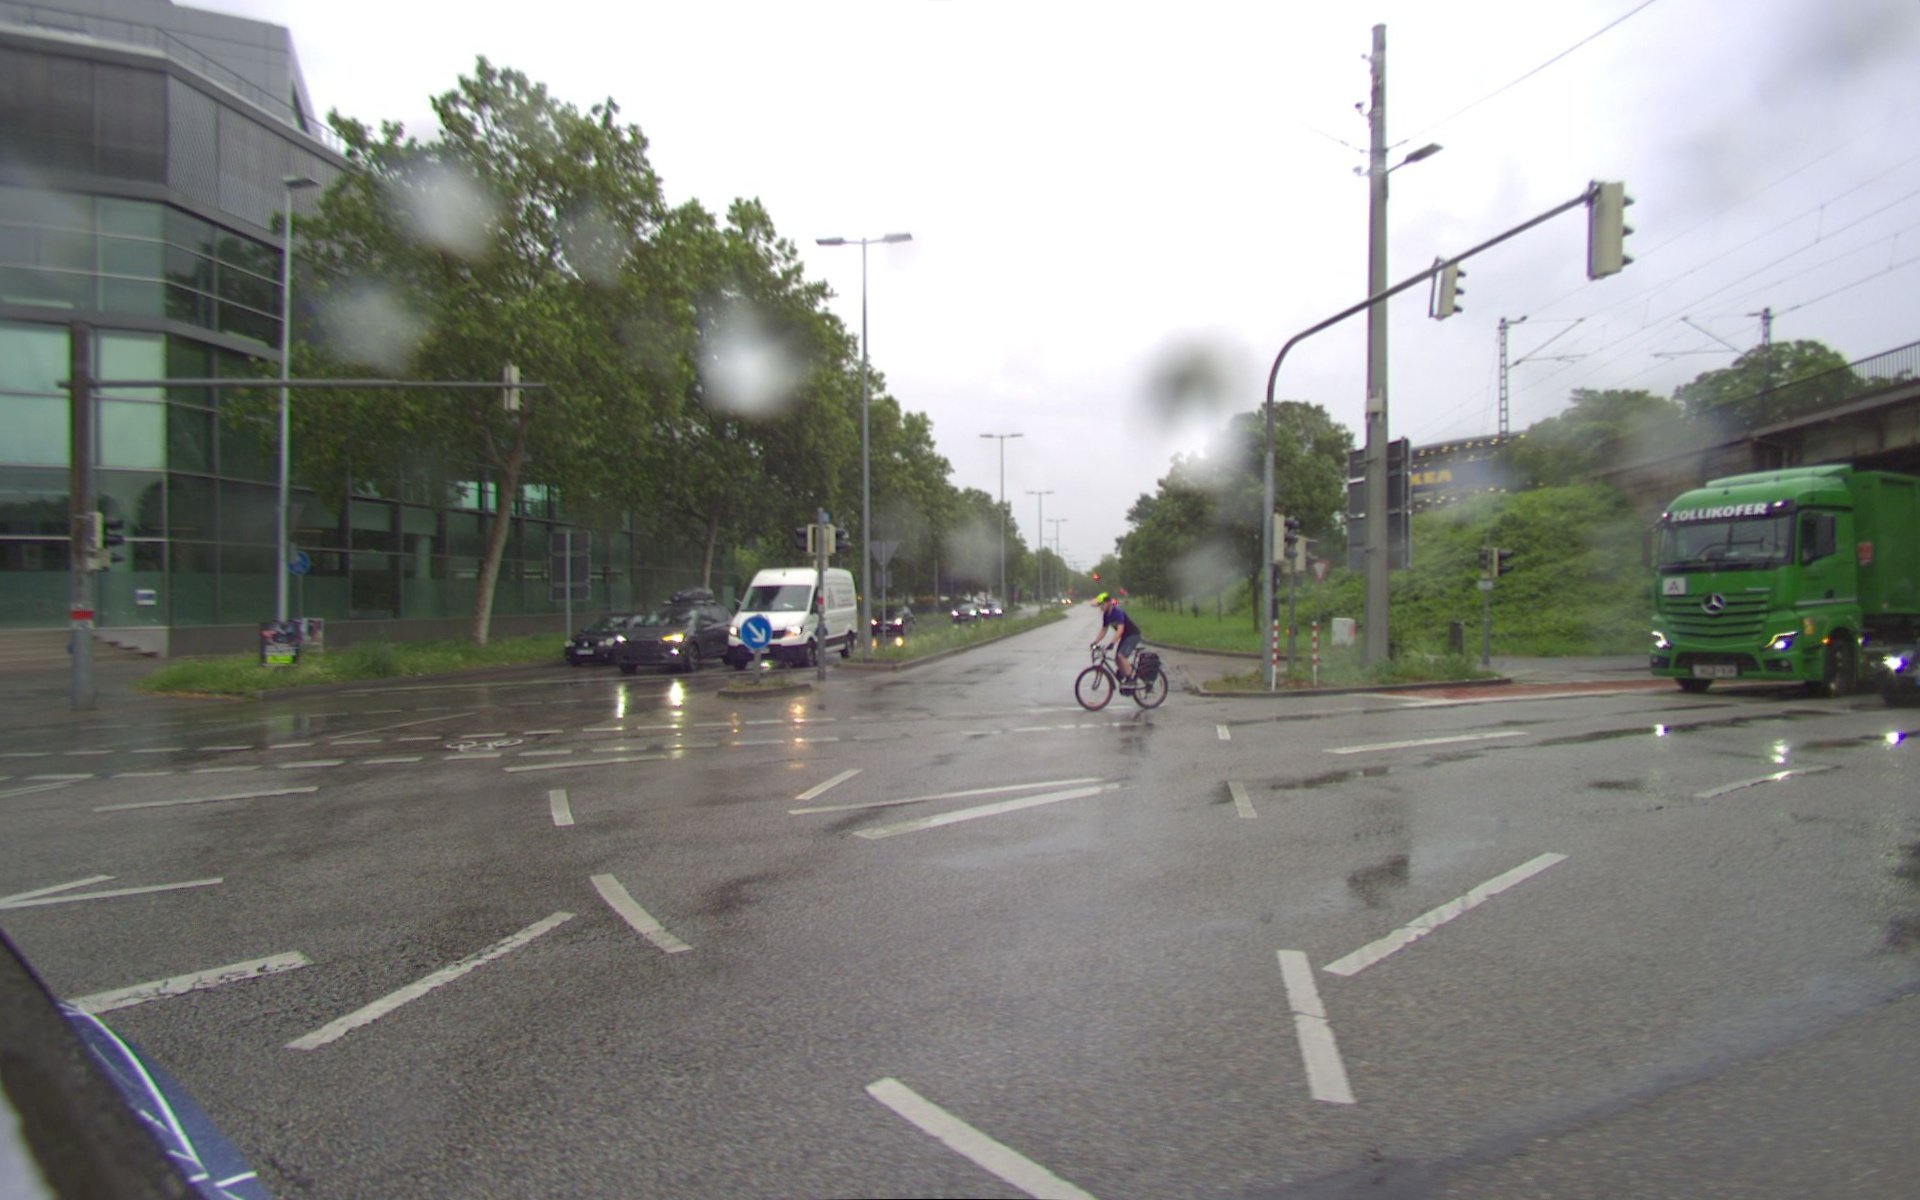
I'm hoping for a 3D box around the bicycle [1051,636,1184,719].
[{"bbox_3d":[2.361,1.131,15.162,1.880,1.103,0.697,-1,-1,-27],"label":"bicycle"}]

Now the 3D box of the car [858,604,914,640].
[{"bbox_3d":[-3.693,1.086,51.067,1.849,1.696,3.986,0,0,11],"label":"car"}]

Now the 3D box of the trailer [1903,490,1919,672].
[{"bbox_3d":[25.423,-0.462,23.152,8.372,4.017,2.698,0,0,-25],"label":"trailer"}]

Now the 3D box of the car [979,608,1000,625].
[{"bbox_3d":[2.892,1.563,97.372,1.564,1.534,3.914,0,0,9],"label":"car"}]

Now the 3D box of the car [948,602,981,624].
[{"bbox_3d":[0.384,0.990,77.534,1.889,1.597,3.911,0,0,11],"label":"car"}]

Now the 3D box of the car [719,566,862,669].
[{"bbox_3d":[-4.342,0.429,27.060,1.948,2.452,5.943,0,0,10],"label":"car"}]

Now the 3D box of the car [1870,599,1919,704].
[{"bbox_3d":[15.986,0.740,15.202,4.603,1.496,1.752,0,0,-25],"label":"car"}]

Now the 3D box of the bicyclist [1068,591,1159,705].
[{"bbox_3d":[2.293,0.692,15.143,1.029,1.605,0.807,-2,0,-27],"label":"bicyclist"}]

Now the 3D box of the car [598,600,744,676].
[{"bbox_3d":[-7.205,0.898,25.724,1.977,1.761,4.316,0,-1,9],"label":"car"}]

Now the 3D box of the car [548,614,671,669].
[{"bbox_3d":[-10.036,1.157,29.287,1.782,1.447,3.991,-1,0,7],"label":"car"}]

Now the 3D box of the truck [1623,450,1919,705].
[{"bbox_3d":[17.067,-0.364,19.184,10.017,3.979,2.697,0,0,-26],"label":"truck"}]
